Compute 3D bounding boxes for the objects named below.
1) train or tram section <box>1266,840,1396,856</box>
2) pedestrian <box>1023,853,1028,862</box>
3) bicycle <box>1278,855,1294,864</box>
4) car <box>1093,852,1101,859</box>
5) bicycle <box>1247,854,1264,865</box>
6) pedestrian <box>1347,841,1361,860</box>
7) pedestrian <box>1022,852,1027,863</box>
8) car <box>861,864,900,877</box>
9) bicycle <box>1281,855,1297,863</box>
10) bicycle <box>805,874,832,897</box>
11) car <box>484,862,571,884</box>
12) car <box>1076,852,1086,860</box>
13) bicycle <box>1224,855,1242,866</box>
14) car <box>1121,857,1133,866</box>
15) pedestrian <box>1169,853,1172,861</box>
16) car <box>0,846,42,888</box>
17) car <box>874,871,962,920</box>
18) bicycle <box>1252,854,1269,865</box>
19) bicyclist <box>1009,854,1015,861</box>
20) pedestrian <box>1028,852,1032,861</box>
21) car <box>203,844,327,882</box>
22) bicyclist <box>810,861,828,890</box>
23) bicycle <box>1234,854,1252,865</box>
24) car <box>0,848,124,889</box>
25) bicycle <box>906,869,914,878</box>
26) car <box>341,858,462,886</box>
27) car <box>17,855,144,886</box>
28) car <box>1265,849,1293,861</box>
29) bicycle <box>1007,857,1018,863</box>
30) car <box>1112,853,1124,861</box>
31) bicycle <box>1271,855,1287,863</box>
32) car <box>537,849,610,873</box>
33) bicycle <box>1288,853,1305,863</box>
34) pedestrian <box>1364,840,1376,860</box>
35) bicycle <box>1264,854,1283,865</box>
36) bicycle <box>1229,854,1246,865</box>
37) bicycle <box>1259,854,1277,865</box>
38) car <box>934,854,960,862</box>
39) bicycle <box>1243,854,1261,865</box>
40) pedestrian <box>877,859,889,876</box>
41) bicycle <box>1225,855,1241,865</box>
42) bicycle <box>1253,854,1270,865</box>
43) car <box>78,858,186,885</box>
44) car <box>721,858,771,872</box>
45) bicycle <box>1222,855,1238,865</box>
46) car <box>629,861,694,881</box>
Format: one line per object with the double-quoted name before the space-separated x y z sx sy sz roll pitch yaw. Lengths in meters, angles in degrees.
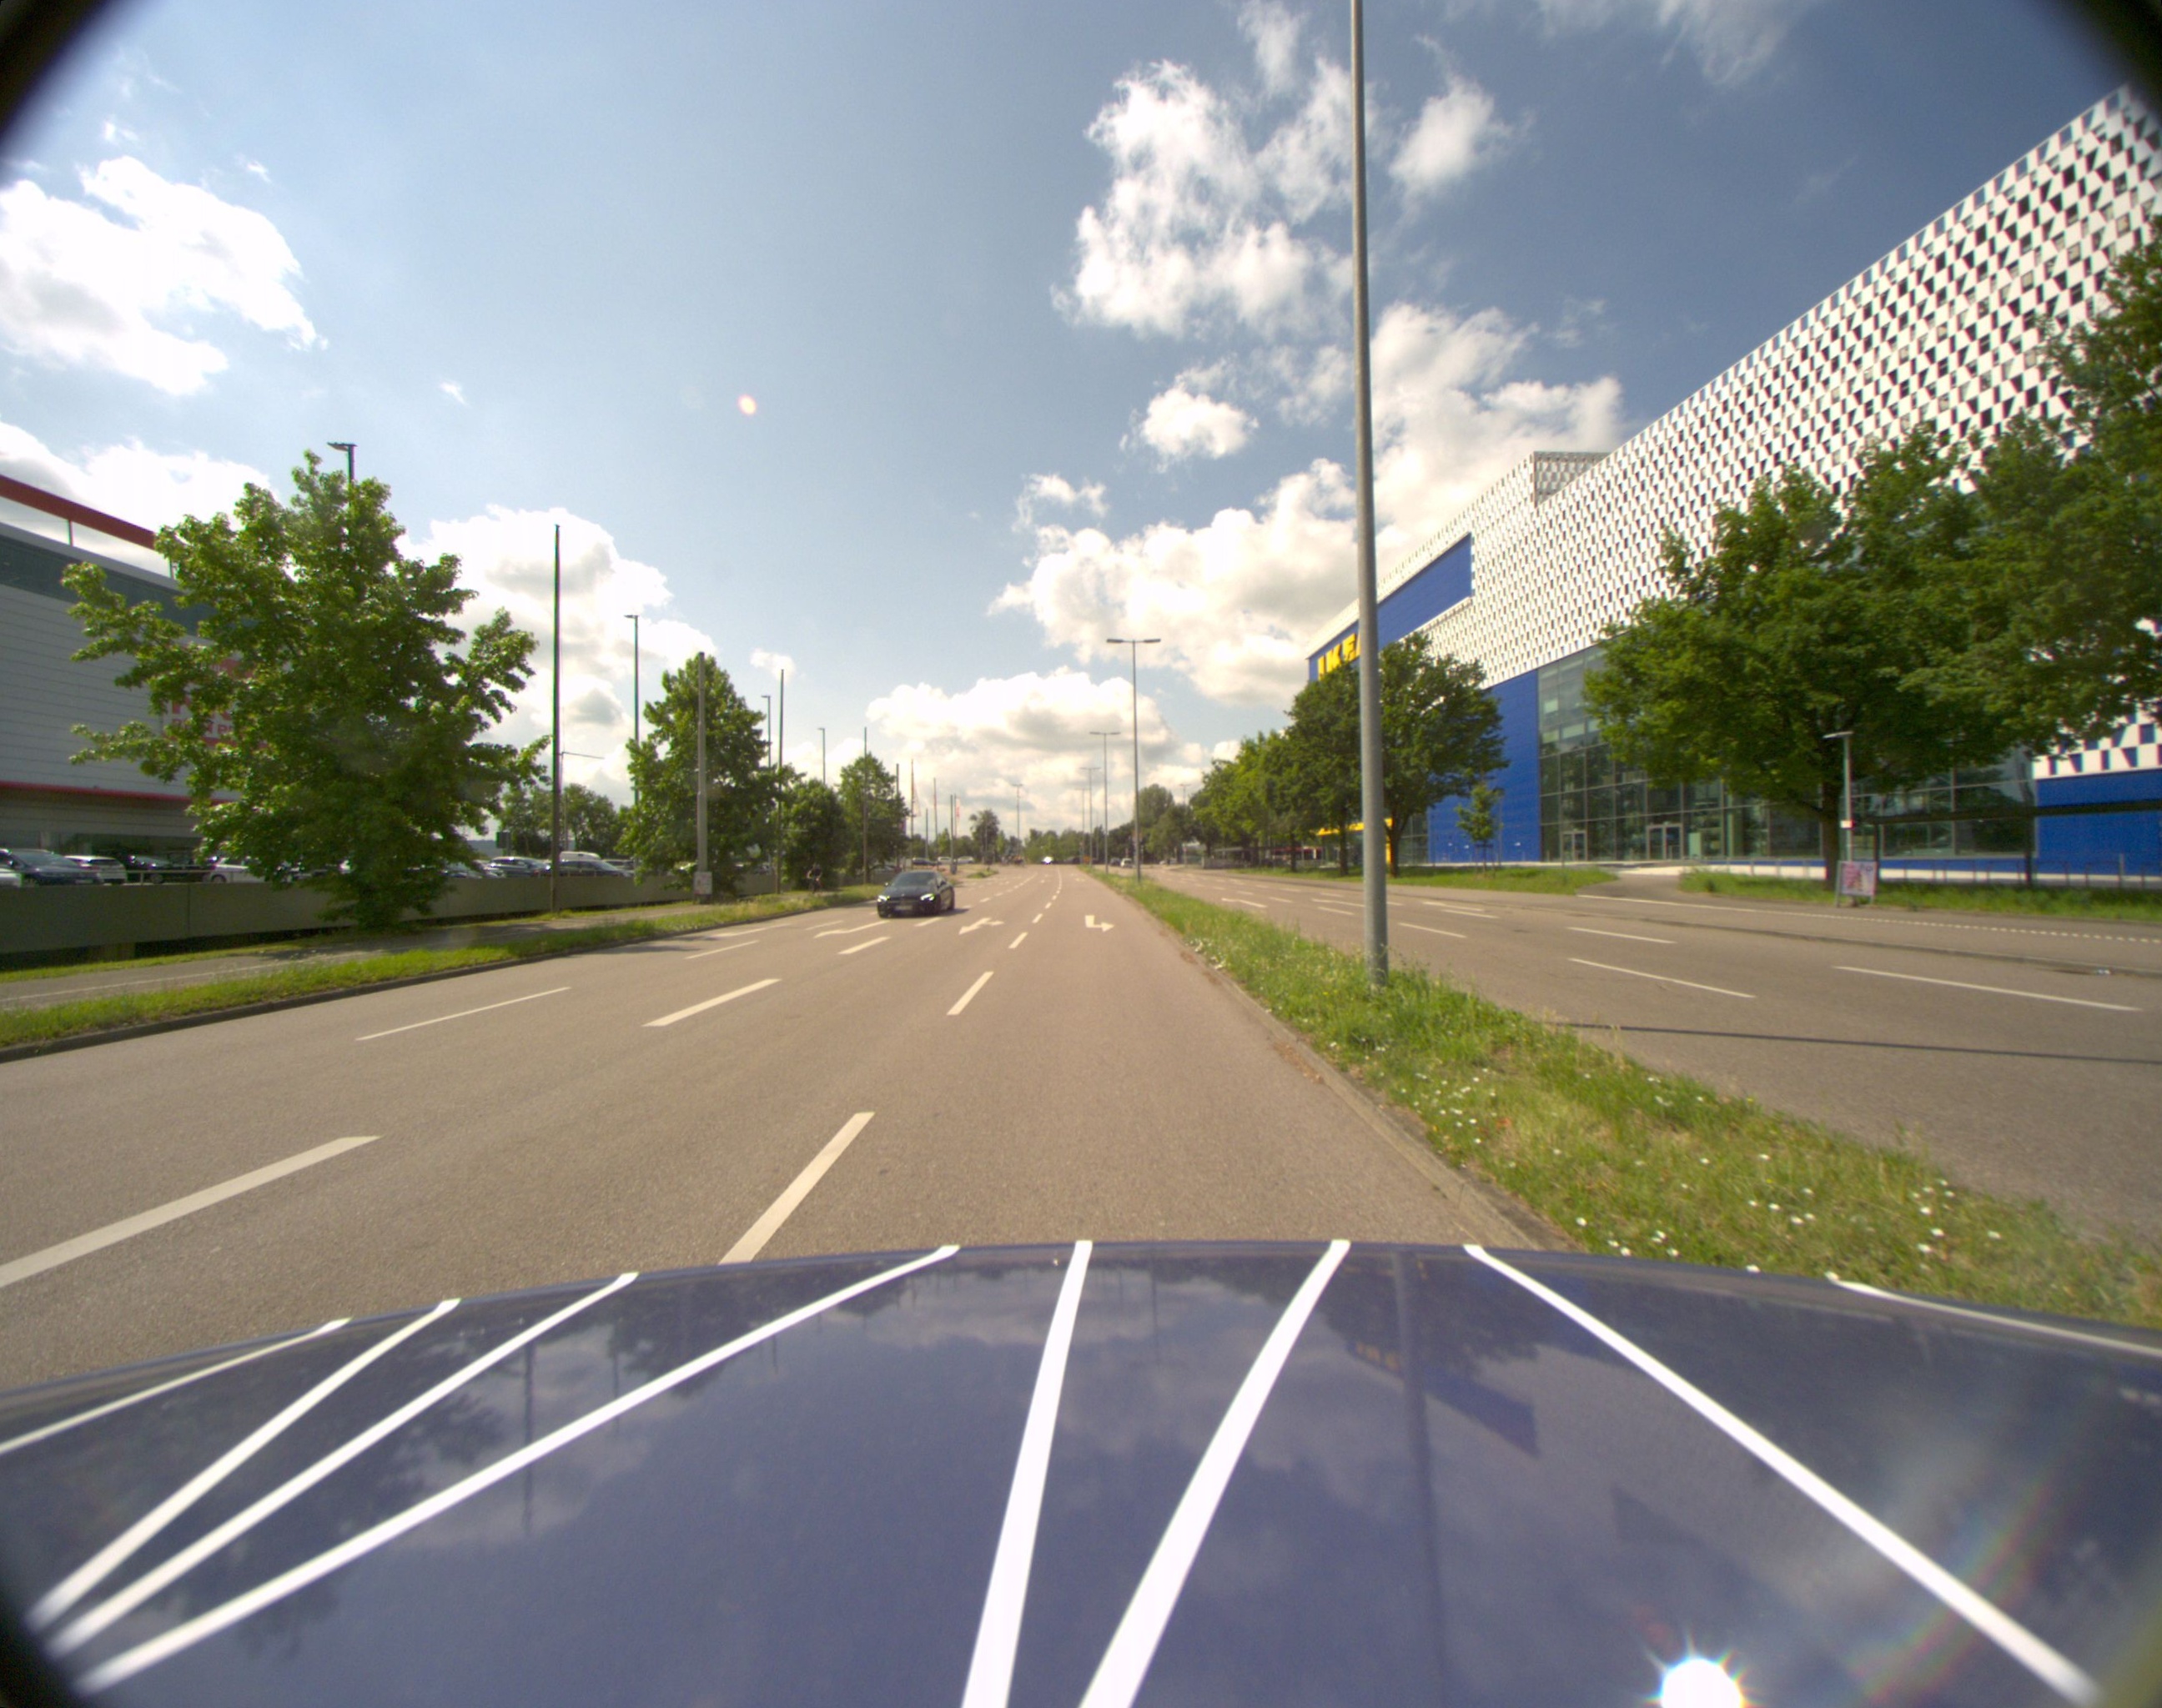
"train or tram section" 50.435 -1.251 153.762 25.117 3.014 4.529 0 0 -3
"pedestrian" -9.557 0.621 130.829 0.585 1.515 0.469 -2 1 7
"bicycle" 26.911 0.714 99.915 1.935 1.083 0.520 -1 0 -5
"car" 3.128 0.294 149.042 1.415 1.383 4.095 1 0 -1
"bicycle" 21.503 0.650 93.845 1.930 1.265 0.629 -2 0 -2
"pedestrian" 24.808 -0.328 69.026 0.952 1.692 0.887 -2 0 -1
"pedestrian" -9.524 0.605 129.174 0.688 1.718 0.701 0 2 10
"car" -25.136 2.012 95.310 4.369 1.468 1.857 -2 0 0
"bicycle" 27.031 0.662 98.809 1.940 1.064 0.528 -1 1 -6
"bicycle" -12.775 1.501 37.038 0.625 1.061 1.968 0 0 -1
"car" -34.719 1.195 47.739 4.195 1.317 1.688 0 0 -2
"car" -0.031 0.369 145.272 1.608 1.484 4.131 1 0 -2
"bicycle" 19.032 0.786 95.026 2.095 1.265 0.629 -2 0 -2
"car" 7.171 1.120 118.766 1.647 1.420 3.670 0 0 0
"pedestrian" 16.034 0.515 136.171 0.439 1.481 0.619 -1 1 -18
"car" -38.598 0.433 25.756 4.195 1.425 1.726 0 -1 -2
"car" -5.113 1.275 24.448 1.797 1.311 4.163 -2 0 1
"bicycle" 21.608 0.648 91.472 1.930 1.265 0.629 -2 0 -2
"bicyclist" -12.014 0.592 132.021 0.689 1.317 0.591 -1 -1 -42
"pedestrian" -8.756 0.495 131.536 0.556 1.515 0.470 -2 0 7
"car" -40.706 0.453 37.979 3.997 1.710 2.000 -2 -1 -1
"bicyclist" -12.780 1.048 37.040 0.617 1.404 0.715 -1 0 -1
"bicycle" 19.454 0.716 91.390 1.930 1.265 0.629 -2 0 -2
"car" -39.232 0.545 28.479 4.195 1.425 1.893 -1 -1 -2
"bicycle" -17.985 2.059 80.107 0.518 0.947 1.543 -2 1 -2
"car" -33.928 0.888 38.032 4.196 1.381 1.892 0 -1 -4
"car" -49.211 0.817 37.431 3.997 1.411 1.629 -2 -1 -2
"car" 37.423 0.212 143.761 4.821 2.001 1.999 -1 -1 -5
"bicycle" -11.932 0.999 132.081 1.992 0.955 0.595 -1 -1 -41
"car" 6.298 0.482 130.674 1.668 1.413 4.517 1 0 -2
"bicycle" 26.746 0.667 102.615 1.940 1.064 0.528 -1 1 -6
"car" -69.821 0.986 104.564 7.898 3.136 3.122 -1 1 1
"bicycle" 27.564 0.541 97.201 1.940 1.202 0.528 -1 1 -6
"pedestrian" 26.388 -0.327 69.385 0.755 1.812 0.887 -2 0 -1
"bicycle" 21.700 0.642 85.563 1.930 1.177 0.629 -2 0 -2
"bicycle" 19.327 0.707 93.760 1.930 1.265 0.629 -2 0 -2
"bicycle" 21.612 0.670 87.680 1.930 1.172 0.629 -2 0 -2
"car" -24.079 0.763 136.292 4.497 1.404 2.012 0 0 -8
"bicycle" 19.488 0.633 86.508 1.930 1.176 0.629 -2 0 -2
"pedestrian" -20.932 1.426 80.413 0.782 1.771 0.874 -2 -1 39
"bicycle" 19.216 0.785 96.054 1.930 1.265 0.629 -2 0 -2
"bicycle" 21.496 0.646 90.459 1.930 1.265 0.629 -2 0 -2
"car" -54.079 1.004 43.354 3.997 1.411 1.629 -2 -1 -2
"car" -34.900 1.122 79.308 4.369 1.354 1.847 -1 0 0
"bicycle" 19.137 0.756 97.399 1.930 1.265 0.629 -2 0 -2
"car" -33.298 1.340 60.412 4.194 1.543 1.764 0 -1 -3
